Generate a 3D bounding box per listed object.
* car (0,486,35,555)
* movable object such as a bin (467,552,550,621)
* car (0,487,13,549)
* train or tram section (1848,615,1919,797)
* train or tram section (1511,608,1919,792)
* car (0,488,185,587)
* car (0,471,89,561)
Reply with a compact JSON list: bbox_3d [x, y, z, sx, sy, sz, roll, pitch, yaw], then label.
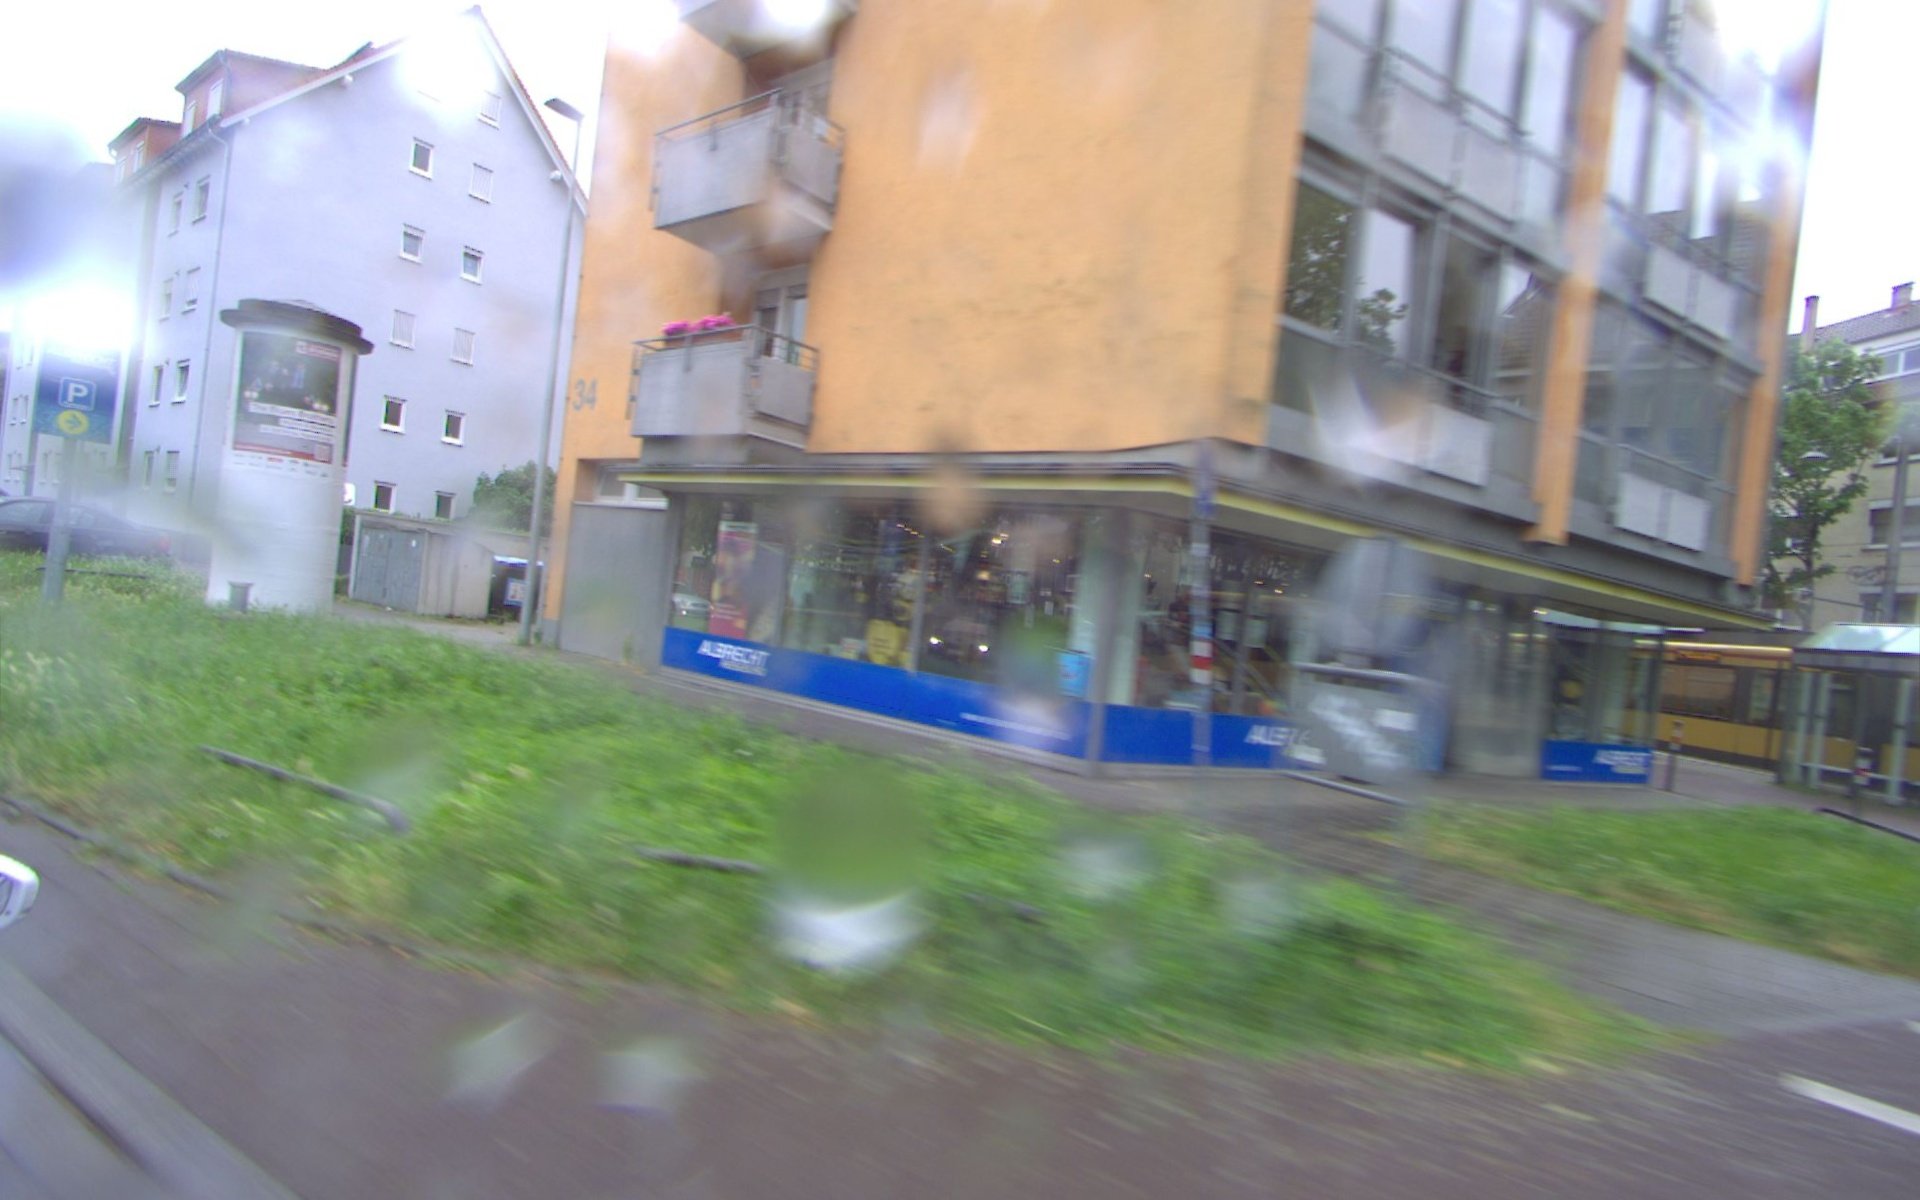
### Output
[{"bbox_3d":[-24.584,-2.139,23.407,1.860,1.587,4.189,7,0,37],"label":"car"},{"bbox_3d":[-10.421,-0.302,23.216,1.200,1.400,1.198,7,1,37],"label":"movable object such as a bin"},{"bbox_3d":[-26.610,-2.385,24.976,1.862,1.590,4.181,7,-1,38],"label":"car"},{"bbox_3d":[19.732,2.176,16.108,2.600,3.392,8.366,7,0,-7],"label":"train or tram section"},{"bbox_3d":[18.488,2.113,25.157,2.600,3.392,9.975,7,-1,-7],"label":"train or tram section"},{"bbox_3d":[-17.287,-1.256,18.404,1.954,1.488,4.529,7,0,39],"label":"car"},{"bbox_3d":[-22.301,-2.043,22.229,1.914,1.828,4.231,7,0,35],"label":"car"}]
